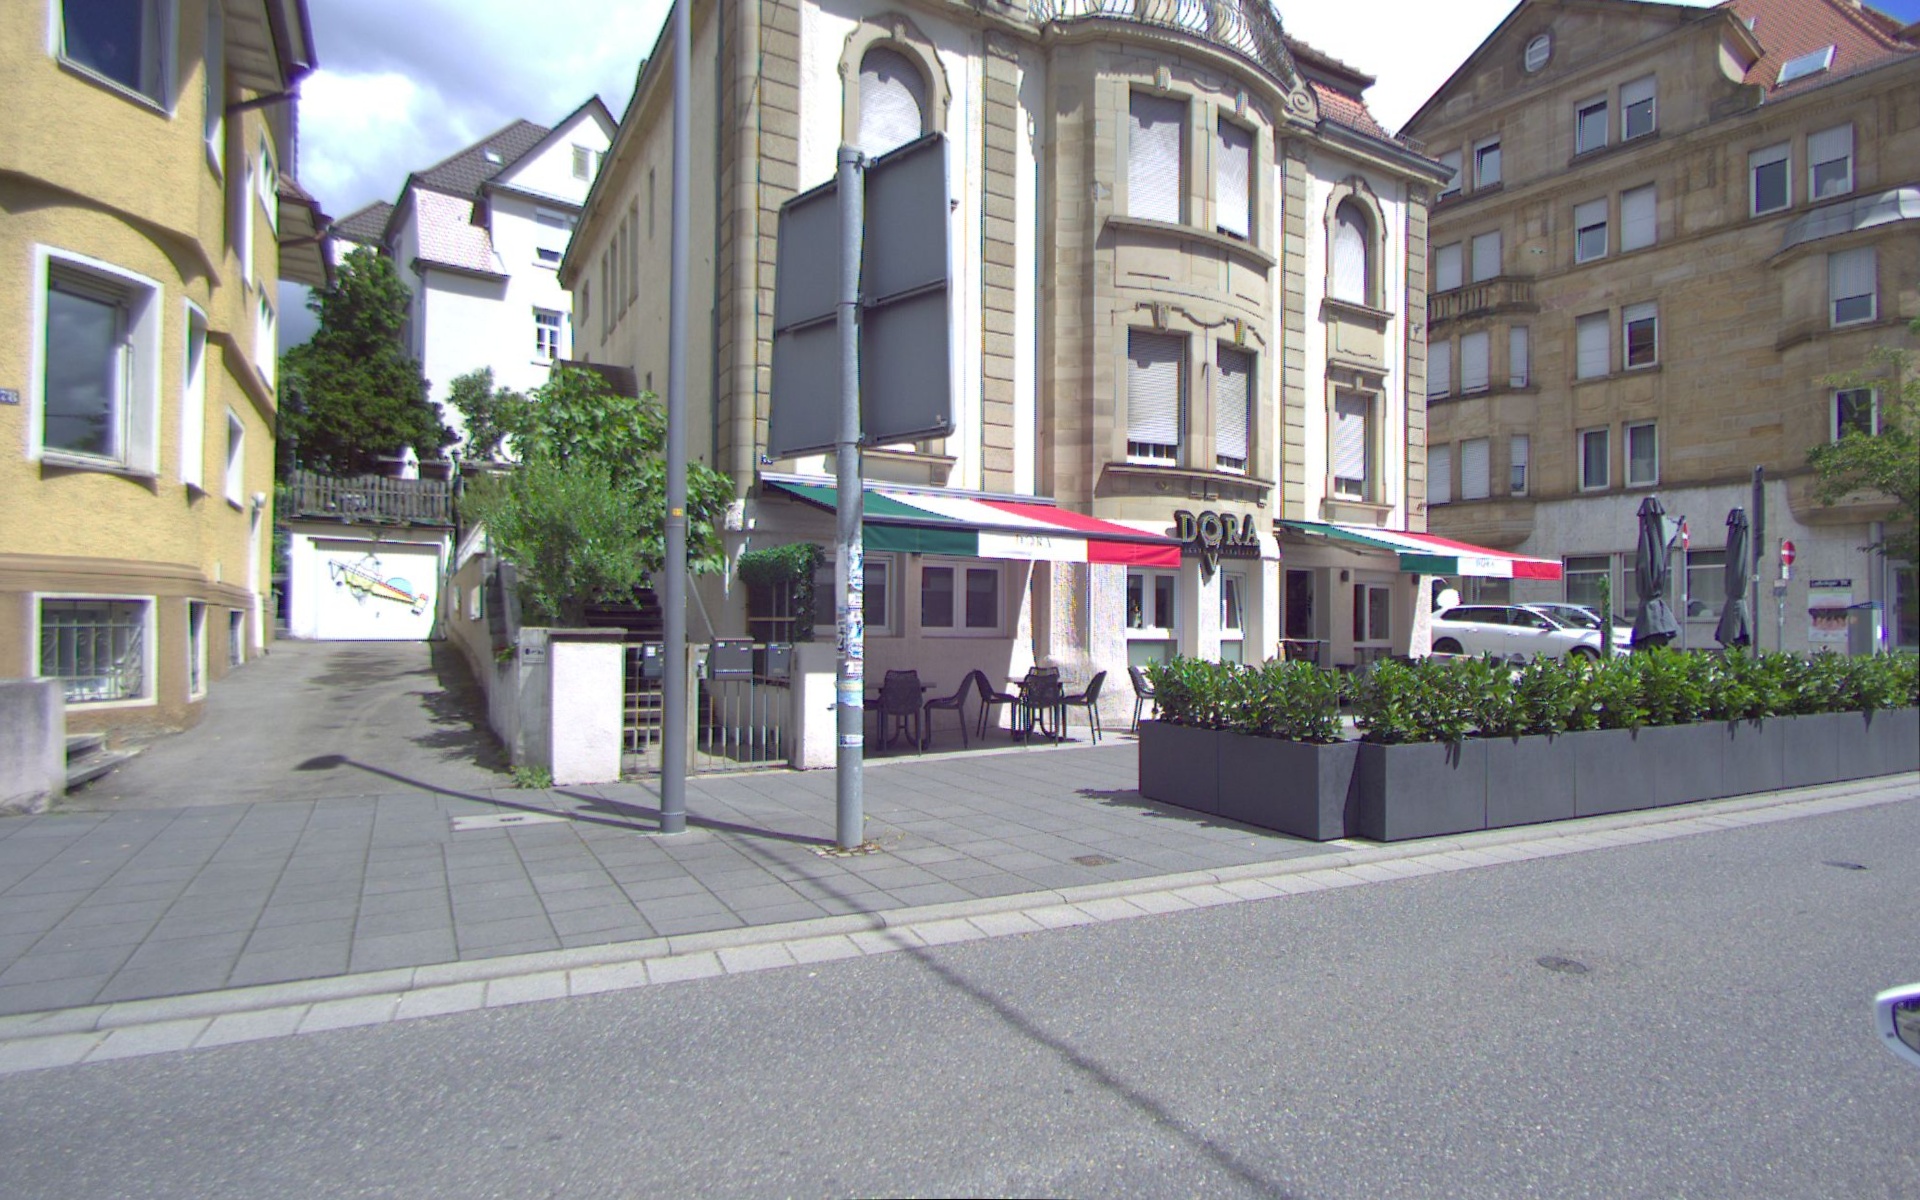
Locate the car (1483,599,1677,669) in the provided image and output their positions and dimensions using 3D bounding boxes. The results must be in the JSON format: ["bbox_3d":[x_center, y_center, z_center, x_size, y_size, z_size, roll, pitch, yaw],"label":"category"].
[{"bbox_3d":[16.244,0.854,26.503,1.889,1.684,3.964,1,-1,-33],"label":"car"}]

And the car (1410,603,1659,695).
[{"bbox_3d":[12.463,0.986,21.989,1.986,1.799,4.375,1,-1,-44],"label":"car"}]
